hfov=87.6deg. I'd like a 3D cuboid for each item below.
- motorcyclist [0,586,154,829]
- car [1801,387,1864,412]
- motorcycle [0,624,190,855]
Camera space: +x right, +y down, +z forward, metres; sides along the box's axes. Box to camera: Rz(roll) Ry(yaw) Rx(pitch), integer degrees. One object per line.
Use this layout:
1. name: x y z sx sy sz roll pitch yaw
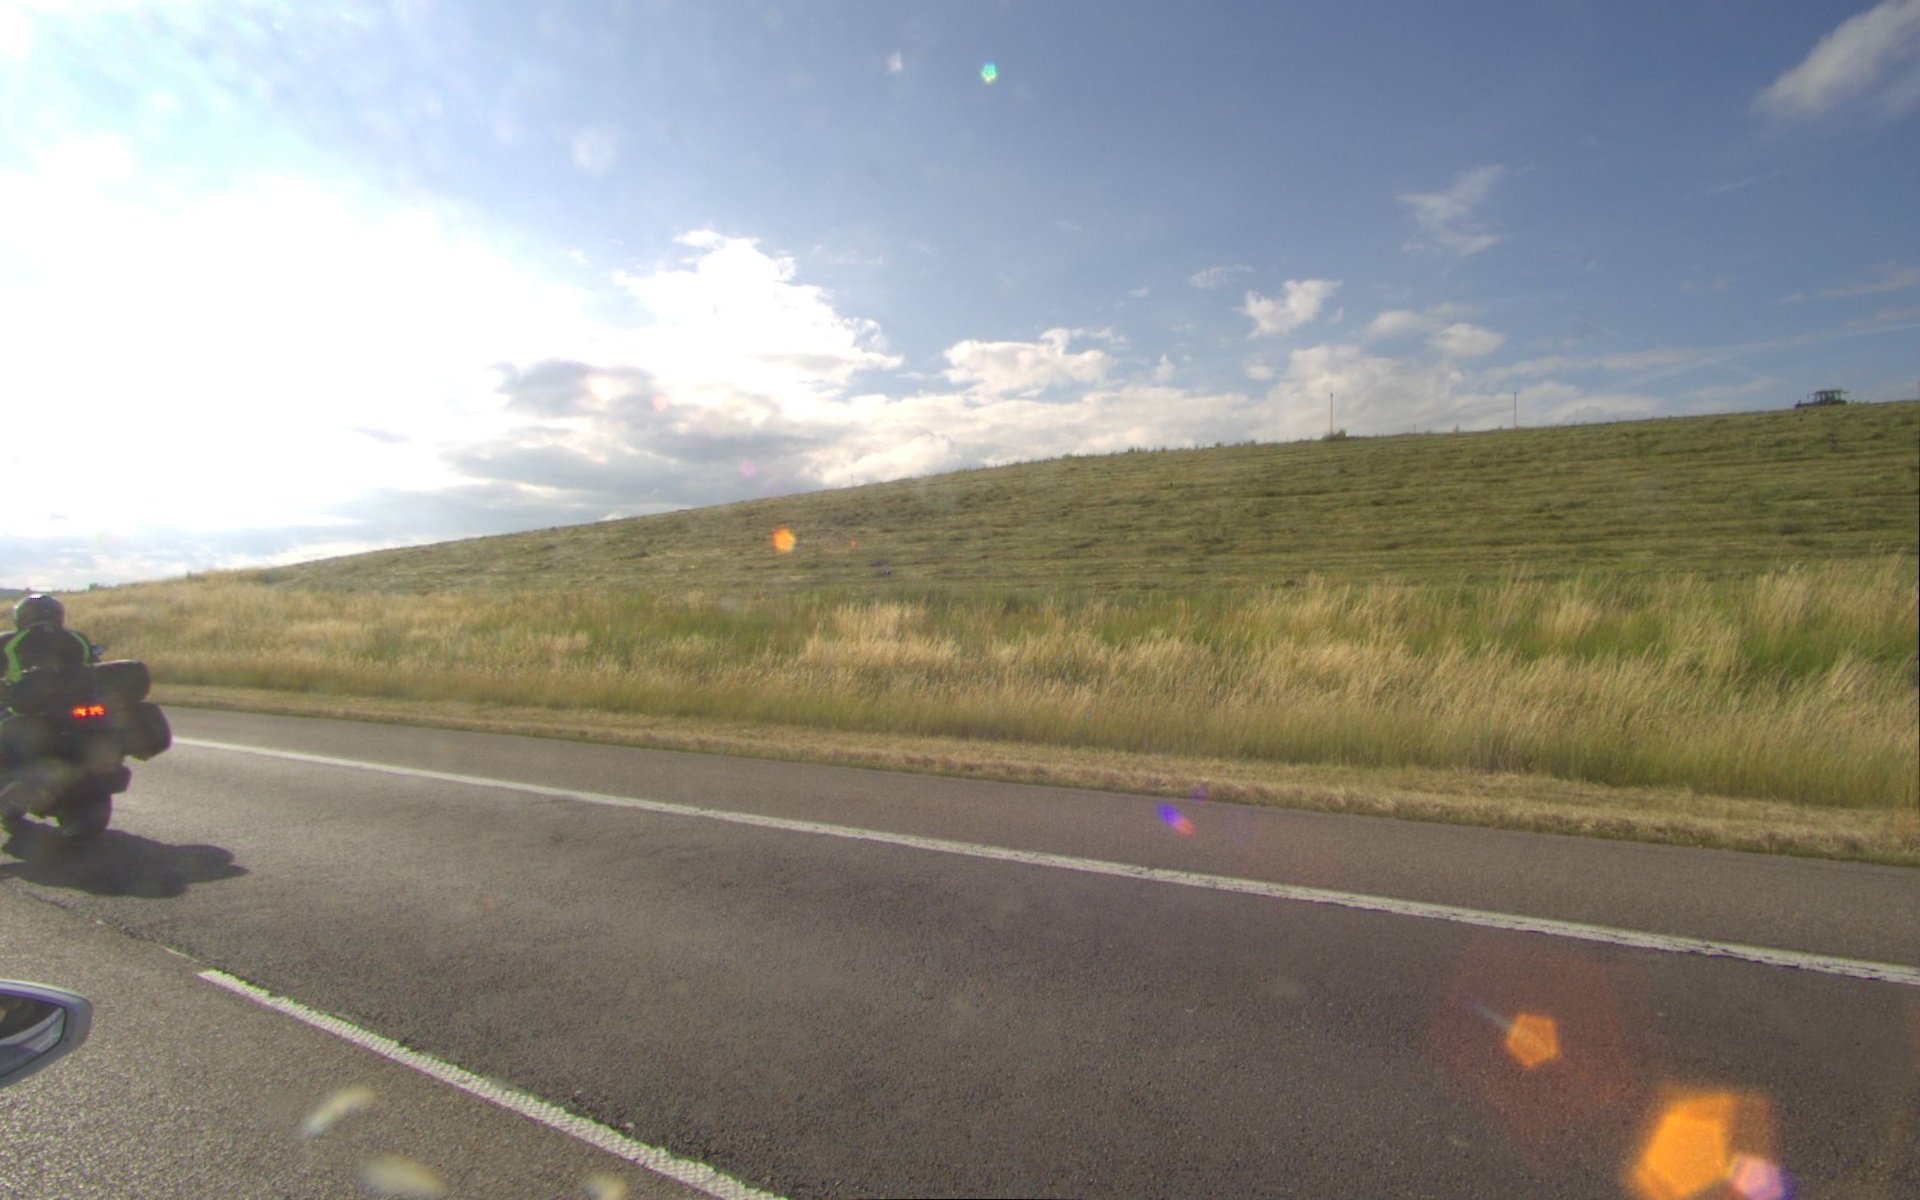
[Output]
1. motorcyclist: -6.687 0.740 7.375 1.007 1.638 0.894 -1 -1 32
2. car: 77.876 -17.901 89.422 3.926 1.566 1.708 -1 -1 13
3. motorcycle: -6.698 0.929 7.387 2.237 1.474 0.894 -1 -1 32
